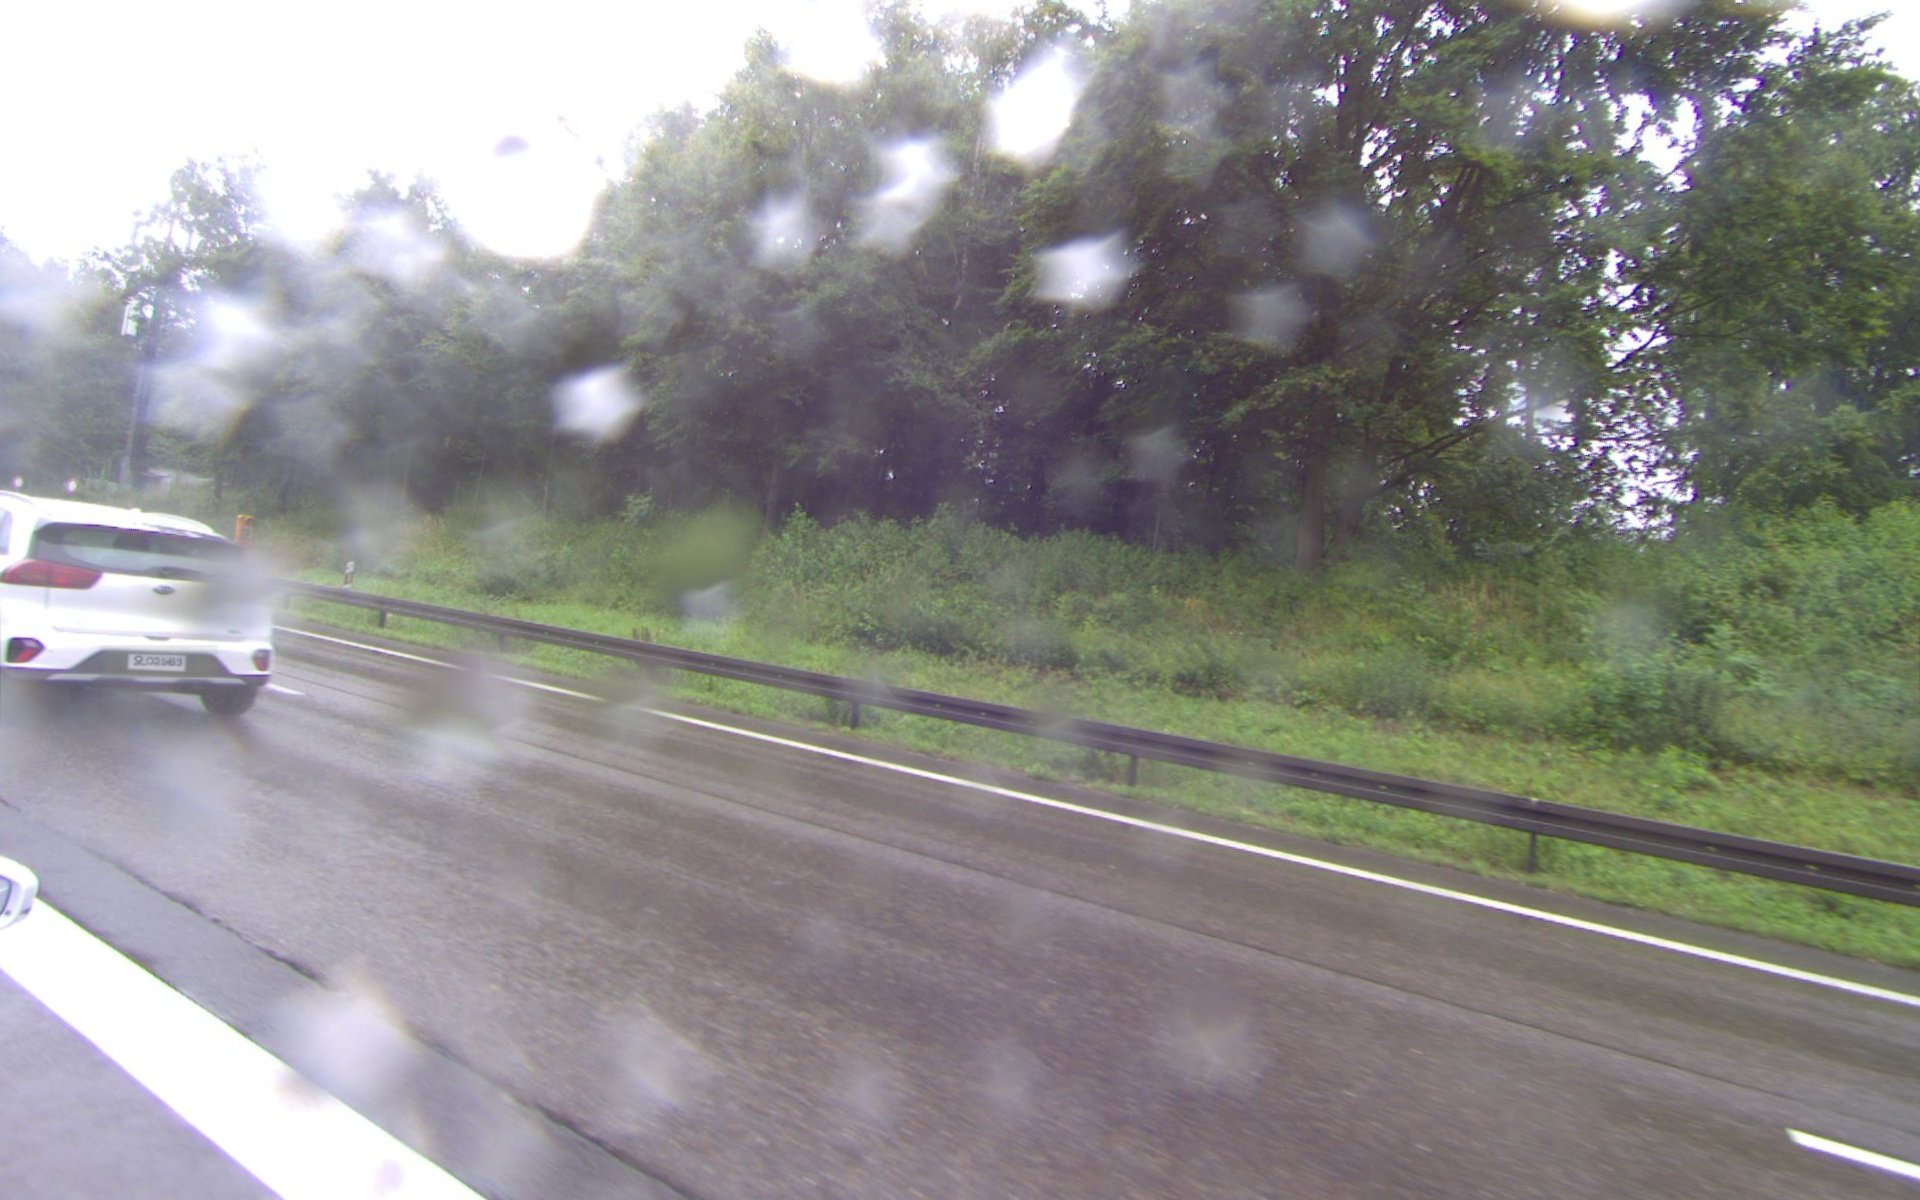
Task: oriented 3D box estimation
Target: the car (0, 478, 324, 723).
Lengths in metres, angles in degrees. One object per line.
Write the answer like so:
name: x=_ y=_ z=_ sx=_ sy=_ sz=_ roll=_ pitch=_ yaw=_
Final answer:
car: x=-7.386 y=-0.115 z=8.220 sx=4.270 sy=1.540 sz=1.850 roll=7 pitch=-2 yaw=31
